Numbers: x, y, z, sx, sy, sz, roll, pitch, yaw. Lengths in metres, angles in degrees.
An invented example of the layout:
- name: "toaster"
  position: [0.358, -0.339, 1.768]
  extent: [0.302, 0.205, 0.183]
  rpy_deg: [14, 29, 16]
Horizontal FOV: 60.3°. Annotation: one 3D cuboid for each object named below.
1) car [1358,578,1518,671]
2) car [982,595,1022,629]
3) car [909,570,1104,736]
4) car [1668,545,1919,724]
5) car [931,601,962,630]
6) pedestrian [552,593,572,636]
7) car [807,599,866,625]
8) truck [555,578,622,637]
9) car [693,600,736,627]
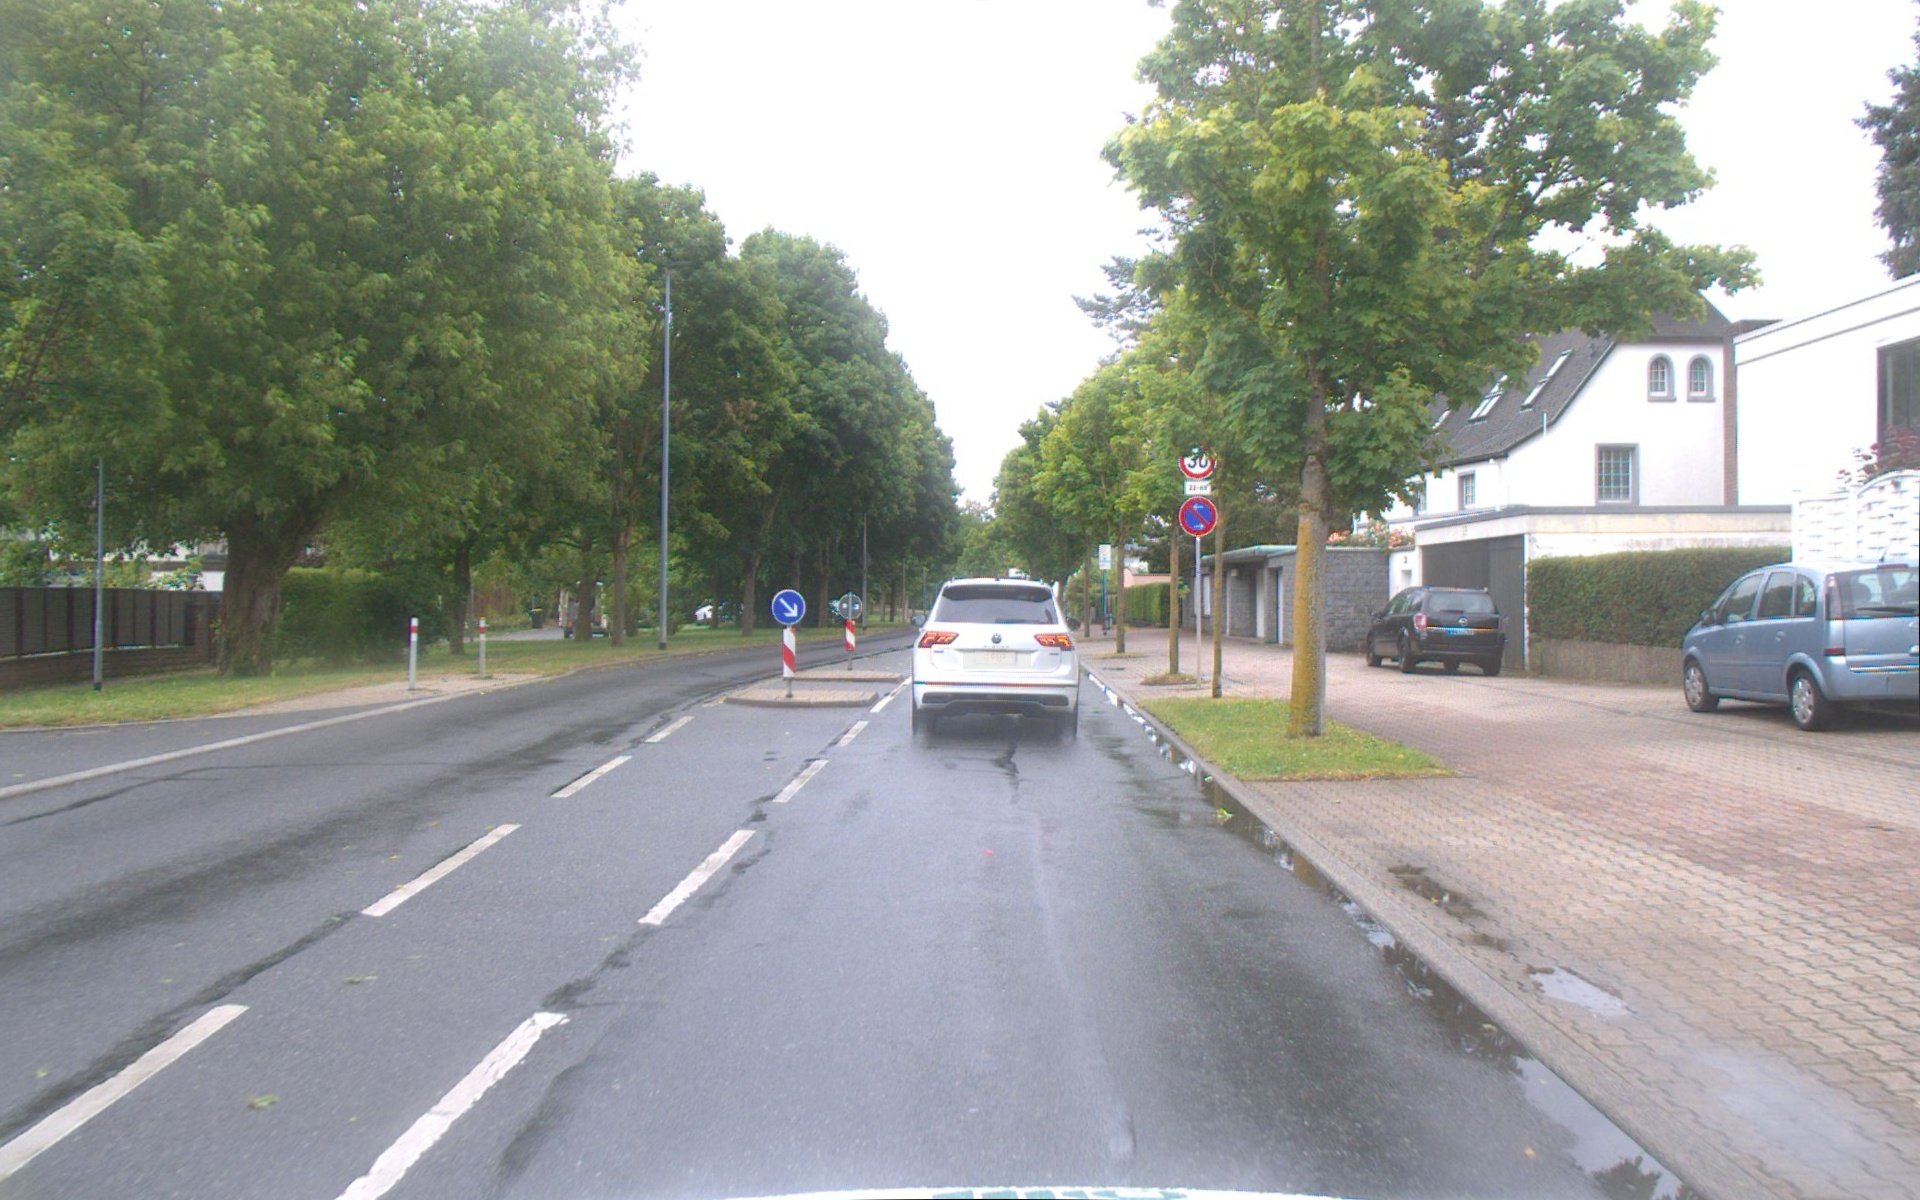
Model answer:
- name: "car"
  position: [8.513, 0.400, 29.844]
  extent: [1.734, 1.524, 4.545]
  rpy_deg: [-1, 0, 2]
- name: "car"
  position: [2.033, 0.577, 79.984]
  extent: [1.802, 1.513, 4.001]
  rpy_deg: [3, 0, 1]
- name: "car"
  position: [0.446, 0.527, 18.756]
  extent: [1.956, 1.660, 3.999]
  rpy_deg: [1, 0, -1]
- name: "car"
  position: [9.016, 0.307, 17.200]
  extent: [1.707, 1.639, 4.001]
  rpy_deg: [-1, 0, 2]
- name: "car"
  position: [-0.812, 0.948, 102.445]
  extent: [1.777, 1.677, 4.000]
  rpy_deg: [1, 0, 0]
- name: "pedestrian"
  position: [-17.550, 0.625, 72.907]
  extent: [0.695, 1.873, 0.823]
  rpy_deg: [0, 0, -4]
- name: "car"
  position: [-7.269, 0.702, 97.369]
  extent: [1.824, 1.508, 3.954]
  rpy_deg: [0, 0, -33]
- name: "truck"
  position: [-17.083, 0.343, 76.393]
  extent: [2.240, 2.642, 5.868]
  rpy_deg: [0, 0, -5]
- name: "car"
  position: [-14.095, 0.783, 94.981]
  extent: [1.813, 1.508, 3.979]
  rpy_deg: [0, 0, -18]
